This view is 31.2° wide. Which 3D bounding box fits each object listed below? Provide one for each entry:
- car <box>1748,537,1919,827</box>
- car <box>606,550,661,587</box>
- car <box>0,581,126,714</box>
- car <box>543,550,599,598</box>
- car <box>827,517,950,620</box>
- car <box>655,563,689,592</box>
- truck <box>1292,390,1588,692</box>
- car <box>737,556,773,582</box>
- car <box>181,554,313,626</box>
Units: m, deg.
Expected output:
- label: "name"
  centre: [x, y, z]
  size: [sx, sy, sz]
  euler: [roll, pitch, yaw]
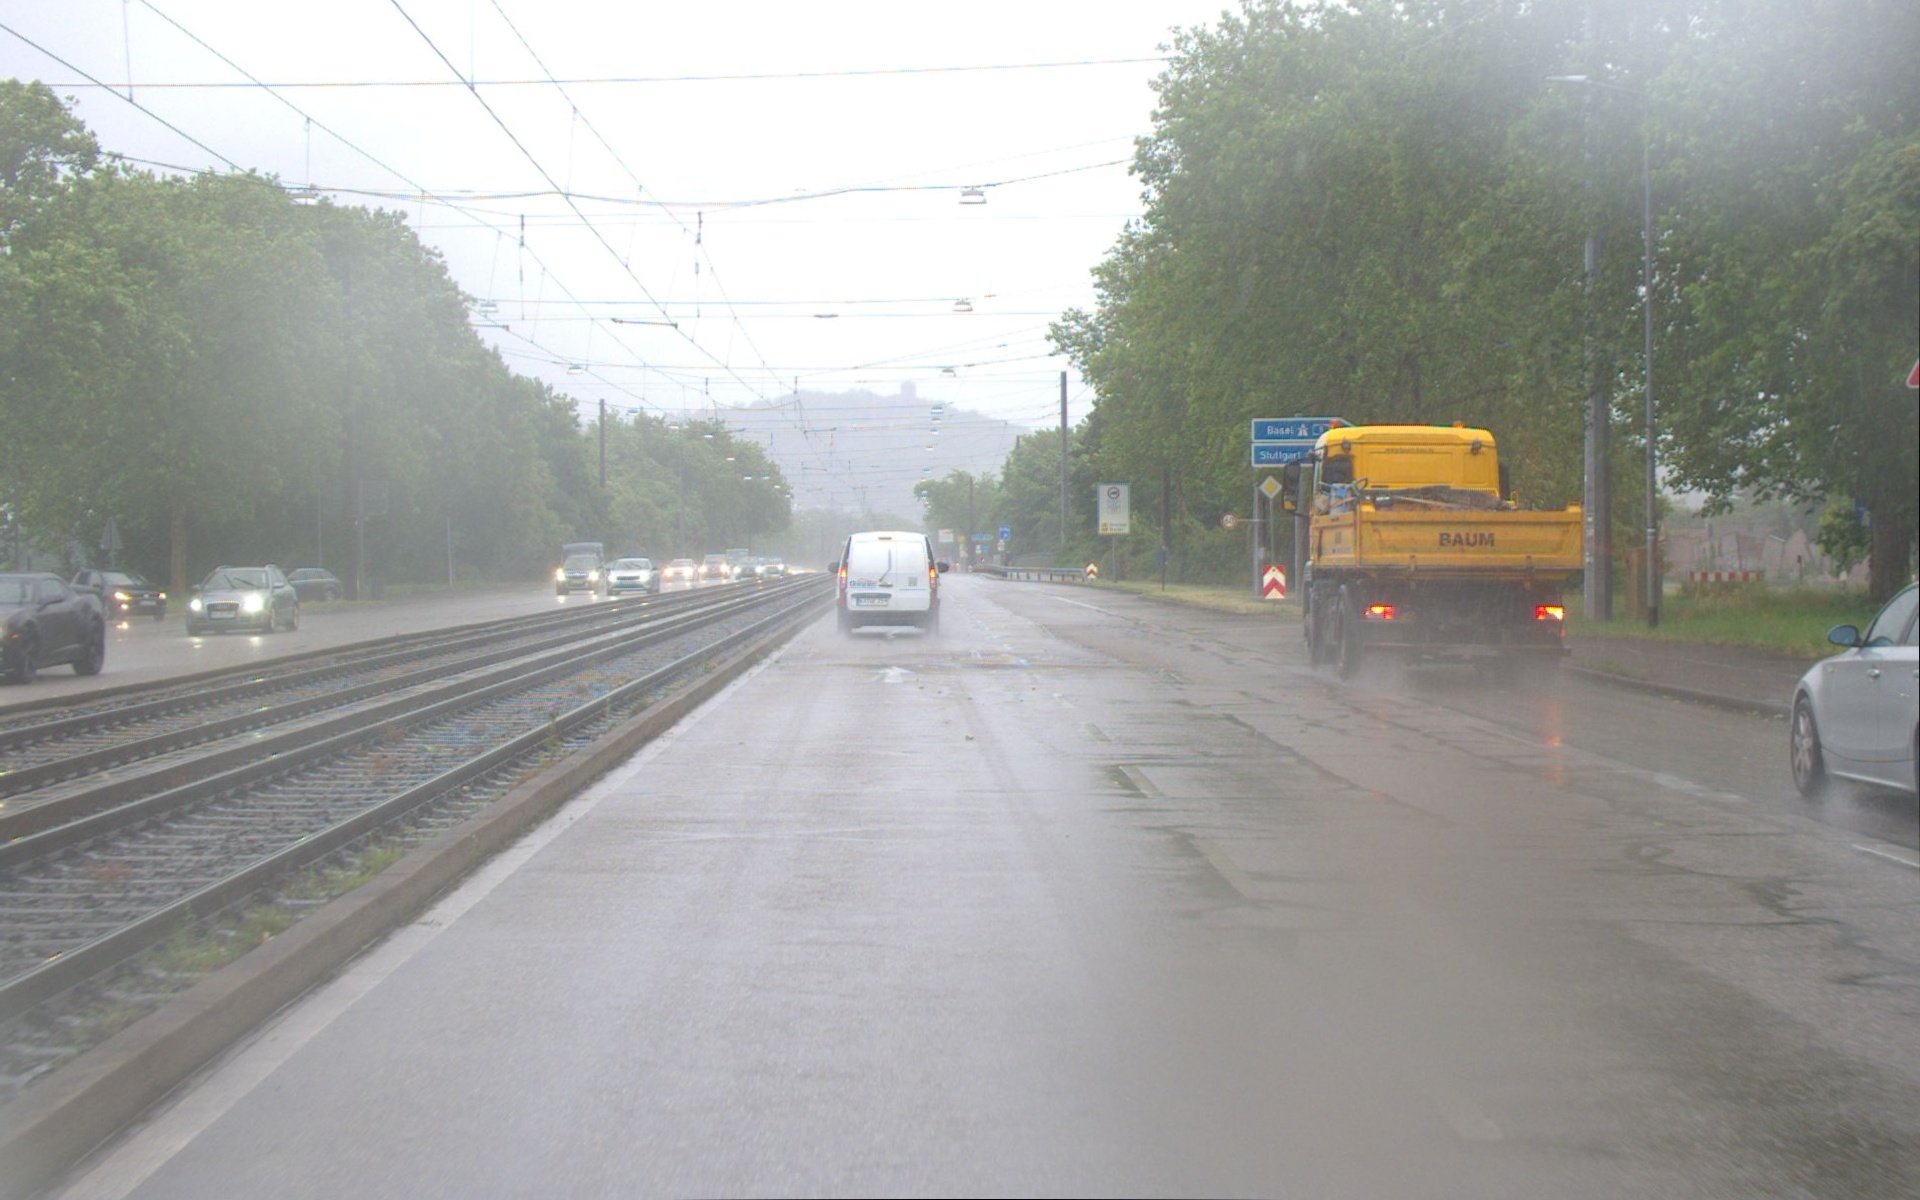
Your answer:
- label: "car"
  centre: [5.888, 0.433, 19.510]
  size: [1.626, 1.498, 4.607]
  euler: [1, 2, -2]
- label: "car"
  centre: [-12.771, -1.241, 134.521]
  size: [1.741, 1.349, 4.546]
  euler: [1, 2, -1]
- label: "car"
  centre: [-12.261, 0.586, 43.331]
  size: [1.994, 1.459, 5.251]
  euler: [-2, 2, 2]
- label: "car"
  centre: [-15.836, -1.069, 140.143]
  size: [1.887, 1.803, 5.005]
  euler: [1, 2, -2]
- label: "car"
  centre: [-1.210, -0.578, 59.566]
  size: [1.989, 1.678, 3.740]
  euler: [1, 2, 1]
- label: "car"
  centre: [-18.243, -1.441, 217.768]
  size: [1.819, 1.700, 5.021]
  euler: [1, 2, -1]
- label: "truck"
  centre: [5.573, -0.748, 41.033]
  size: [2.556, 3.246, 6.933]
  euler: [1, 2, 0]
- label: "car"
  centre: [-13.397, -2.061, 224.910]
  size: [1.790, 1.544, 5.313]
  euler: [1, 2, 3]
- label: "car"
  centre: [-14.929, -0.233, 72.203]
  size: [1.757, 1.358, 5.072]
  euler: [1, 2, -1]
